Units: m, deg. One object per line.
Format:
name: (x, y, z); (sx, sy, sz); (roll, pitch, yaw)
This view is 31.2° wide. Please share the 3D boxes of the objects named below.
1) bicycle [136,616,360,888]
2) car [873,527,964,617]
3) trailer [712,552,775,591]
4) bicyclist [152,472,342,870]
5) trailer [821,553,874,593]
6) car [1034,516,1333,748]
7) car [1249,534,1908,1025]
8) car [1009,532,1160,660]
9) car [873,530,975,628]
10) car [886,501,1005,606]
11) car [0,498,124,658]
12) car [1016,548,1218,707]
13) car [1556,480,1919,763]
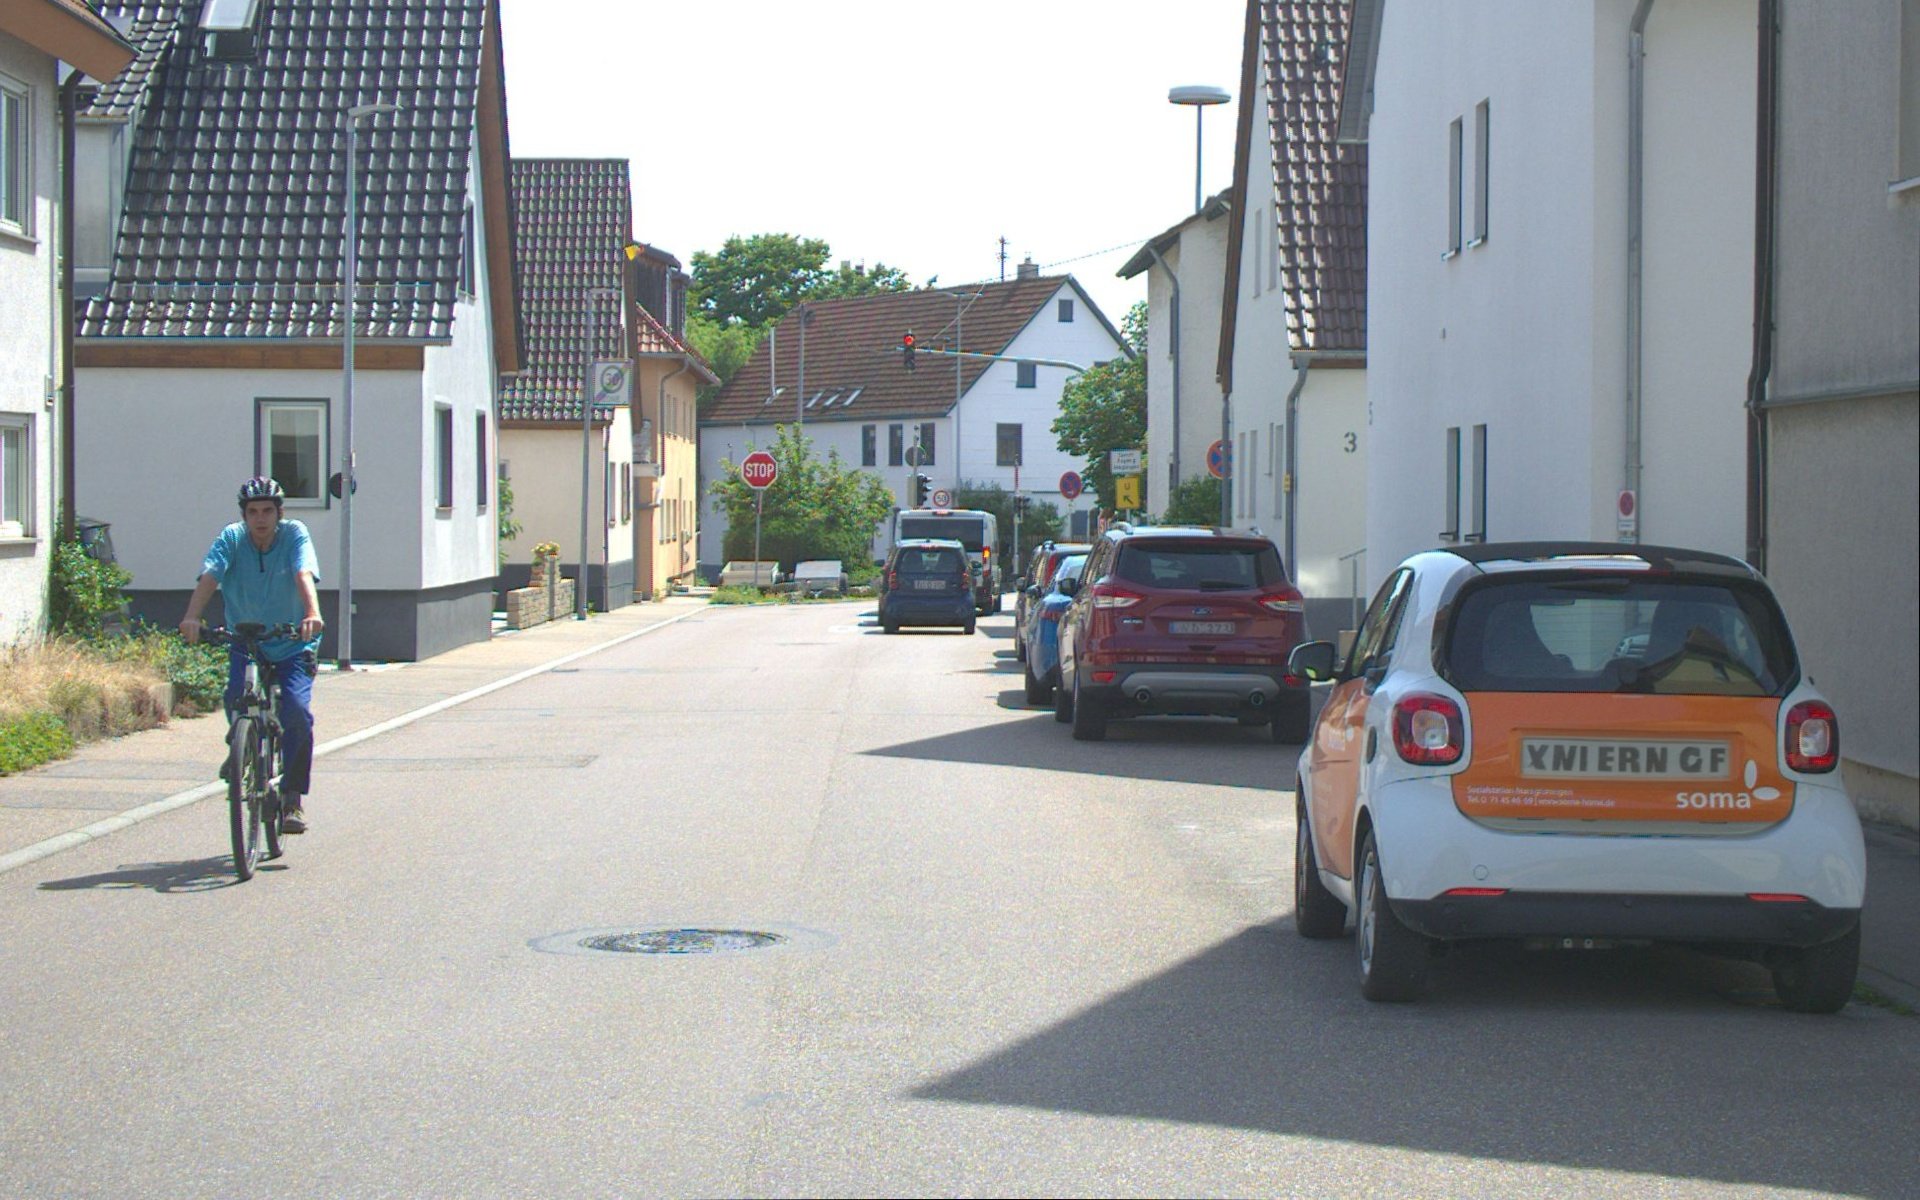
bicycle: (-3.298, 0.669, 16.101); (0.670, 1.128, 2.189); (1, 1, -2)
car: (-0.748, -0.534, 63.340); (1.516, 1.619, 3.184); (0, 1, 2)
trailer: (-5.574, -0.735, 88.504); (1.501, 0.924, 1.012); (2, 1, 0)
bicyclist: (-3.315, 0.314, 16.045); (0.713, 1.792, 0.942); (1, 1, -3)
trailer: (-2.899, -0.697, 88.486); (1.311, 0.967, 0.933); (1, 1, 0)
car: (1.720, 0.194, 27.776); (1.875, 1.694, 4.184); (1, 1, -3)
car: (2.116, 0.551, 12.540); (1.673, 1.553, 3.041); (1, 1, -3)
car: (1.542, -0.078, 43.662); (1.567, 1.540, 3.450); (1, 1, -4)
car: (-0.591, -0.372, 58.688); (1.516, 1.561, 3.184); (2, 1, 2)
car: (-0.267, -1.001, 72.924); (2.129, 2.151, 4.735); (0, 1, 5)
car: (-10.555, -0.311, 36.049); (3.110, 1.571, 1.714); (4, 1, -2)
car: (1.477, 0.219, 33.847); (1.763, 1.419, 4.592); (1, 1, 0)
car: (6.588, 0.142, 23.697); (4.515, 1.836, 2.000); (1, 1, -4)
